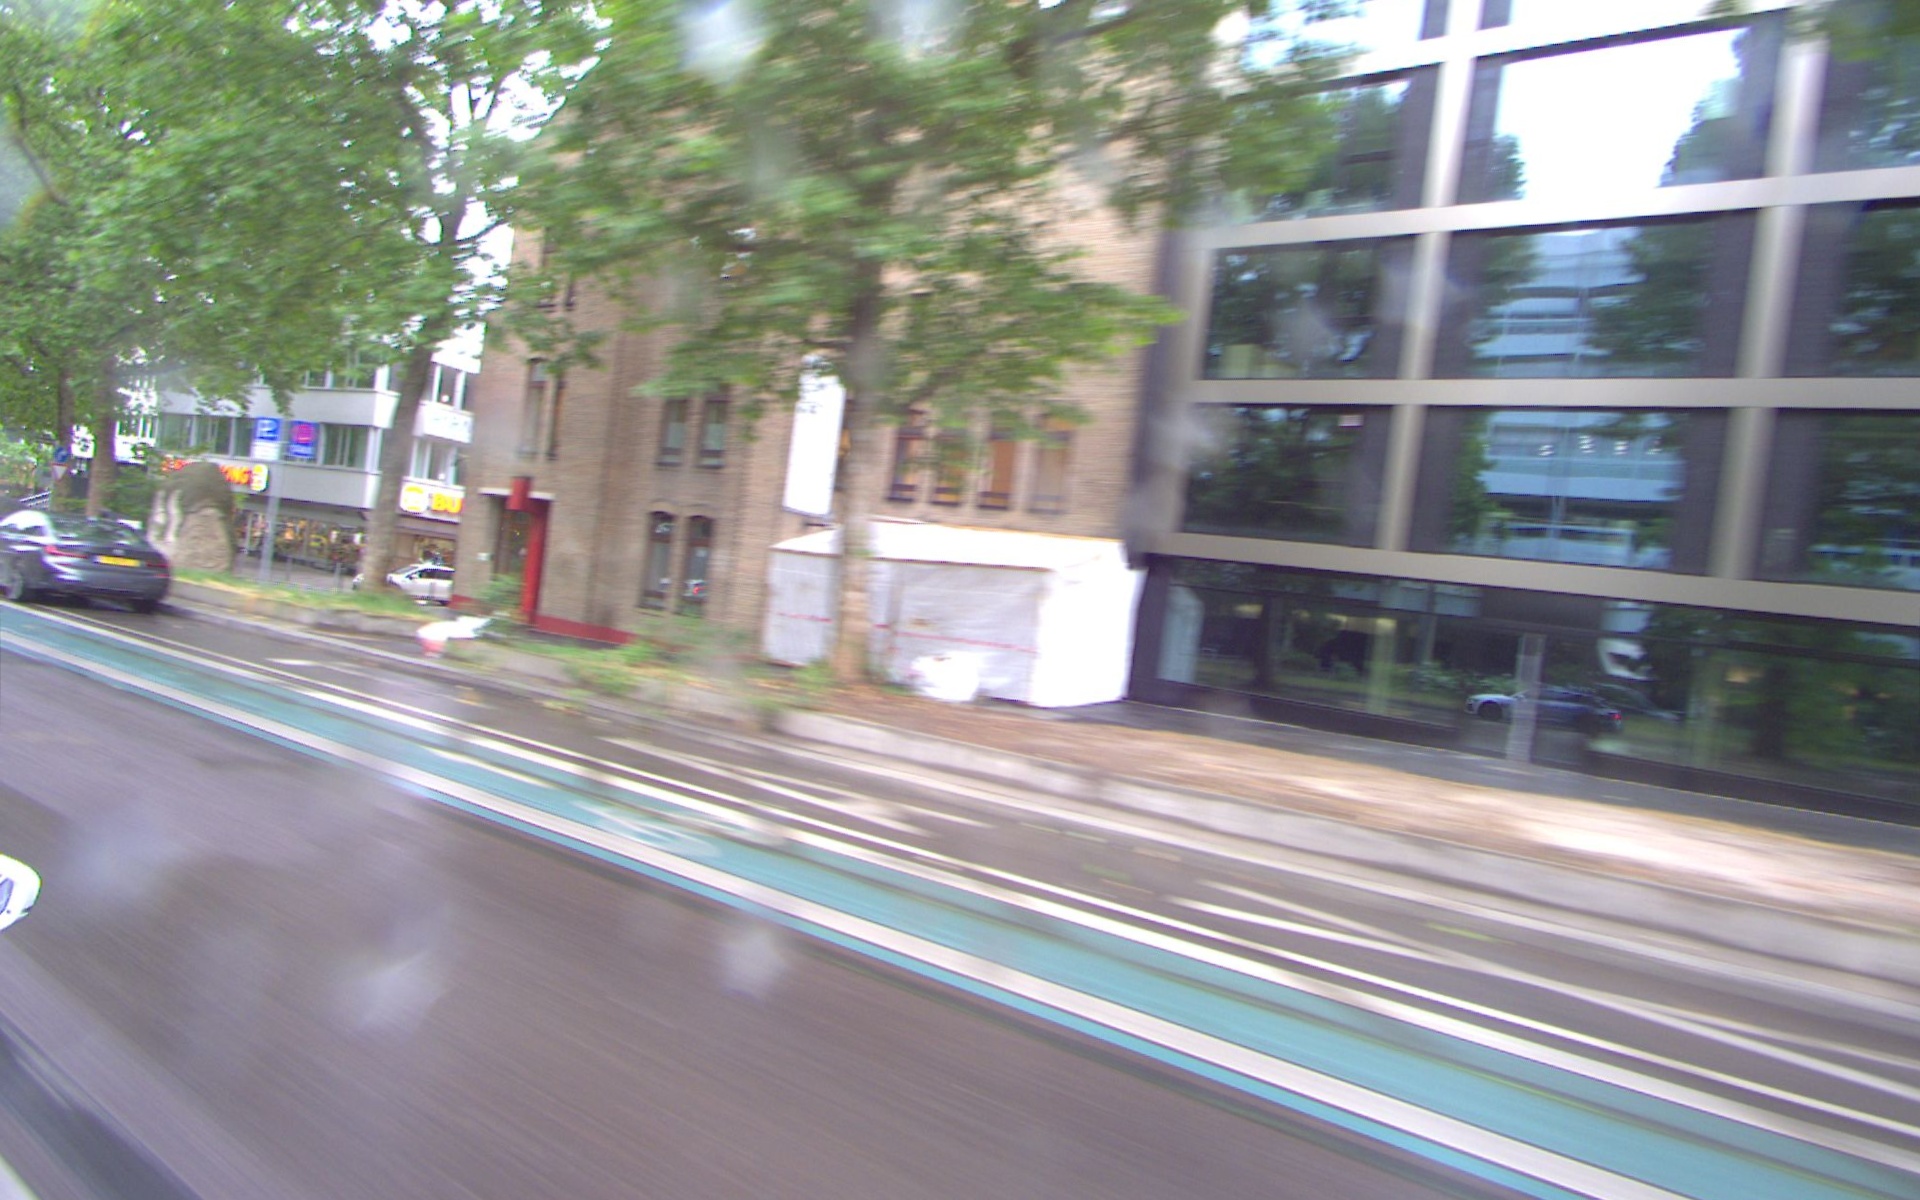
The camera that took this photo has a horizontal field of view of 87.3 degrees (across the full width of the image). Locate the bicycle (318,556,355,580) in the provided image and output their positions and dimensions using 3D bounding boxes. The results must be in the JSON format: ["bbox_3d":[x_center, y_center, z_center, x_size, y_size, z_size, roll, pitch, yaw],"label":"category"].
[{"bbox_3d":[-27.344,-1.416,44.120,1.993,0.846,0.449,6,-2,32],"label":"bicycle"}]

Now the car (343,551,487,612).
[{"bbox_3d":[-20.276,-0.666,37.519,4.233,1.584,2.032,10,-4,-42],"label":"car"}]

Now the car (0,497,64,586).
[{"bbox_3d":[-19.837,-1.348,19.768,4.482,1.537,1.872,6,-3,30],"label":"car"}]

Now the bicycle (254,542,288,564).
[{"bbox_3d":[-32.111,-2.195,46.871,1.993,0.846,0.449,6,-2,32],"label":"bicycle"}]

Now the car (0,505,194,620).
[{"bbox_3d":[-15.012,-0.710,16.813,4.534,1.436,1.878,6,-3,31],"label":"car"}]
